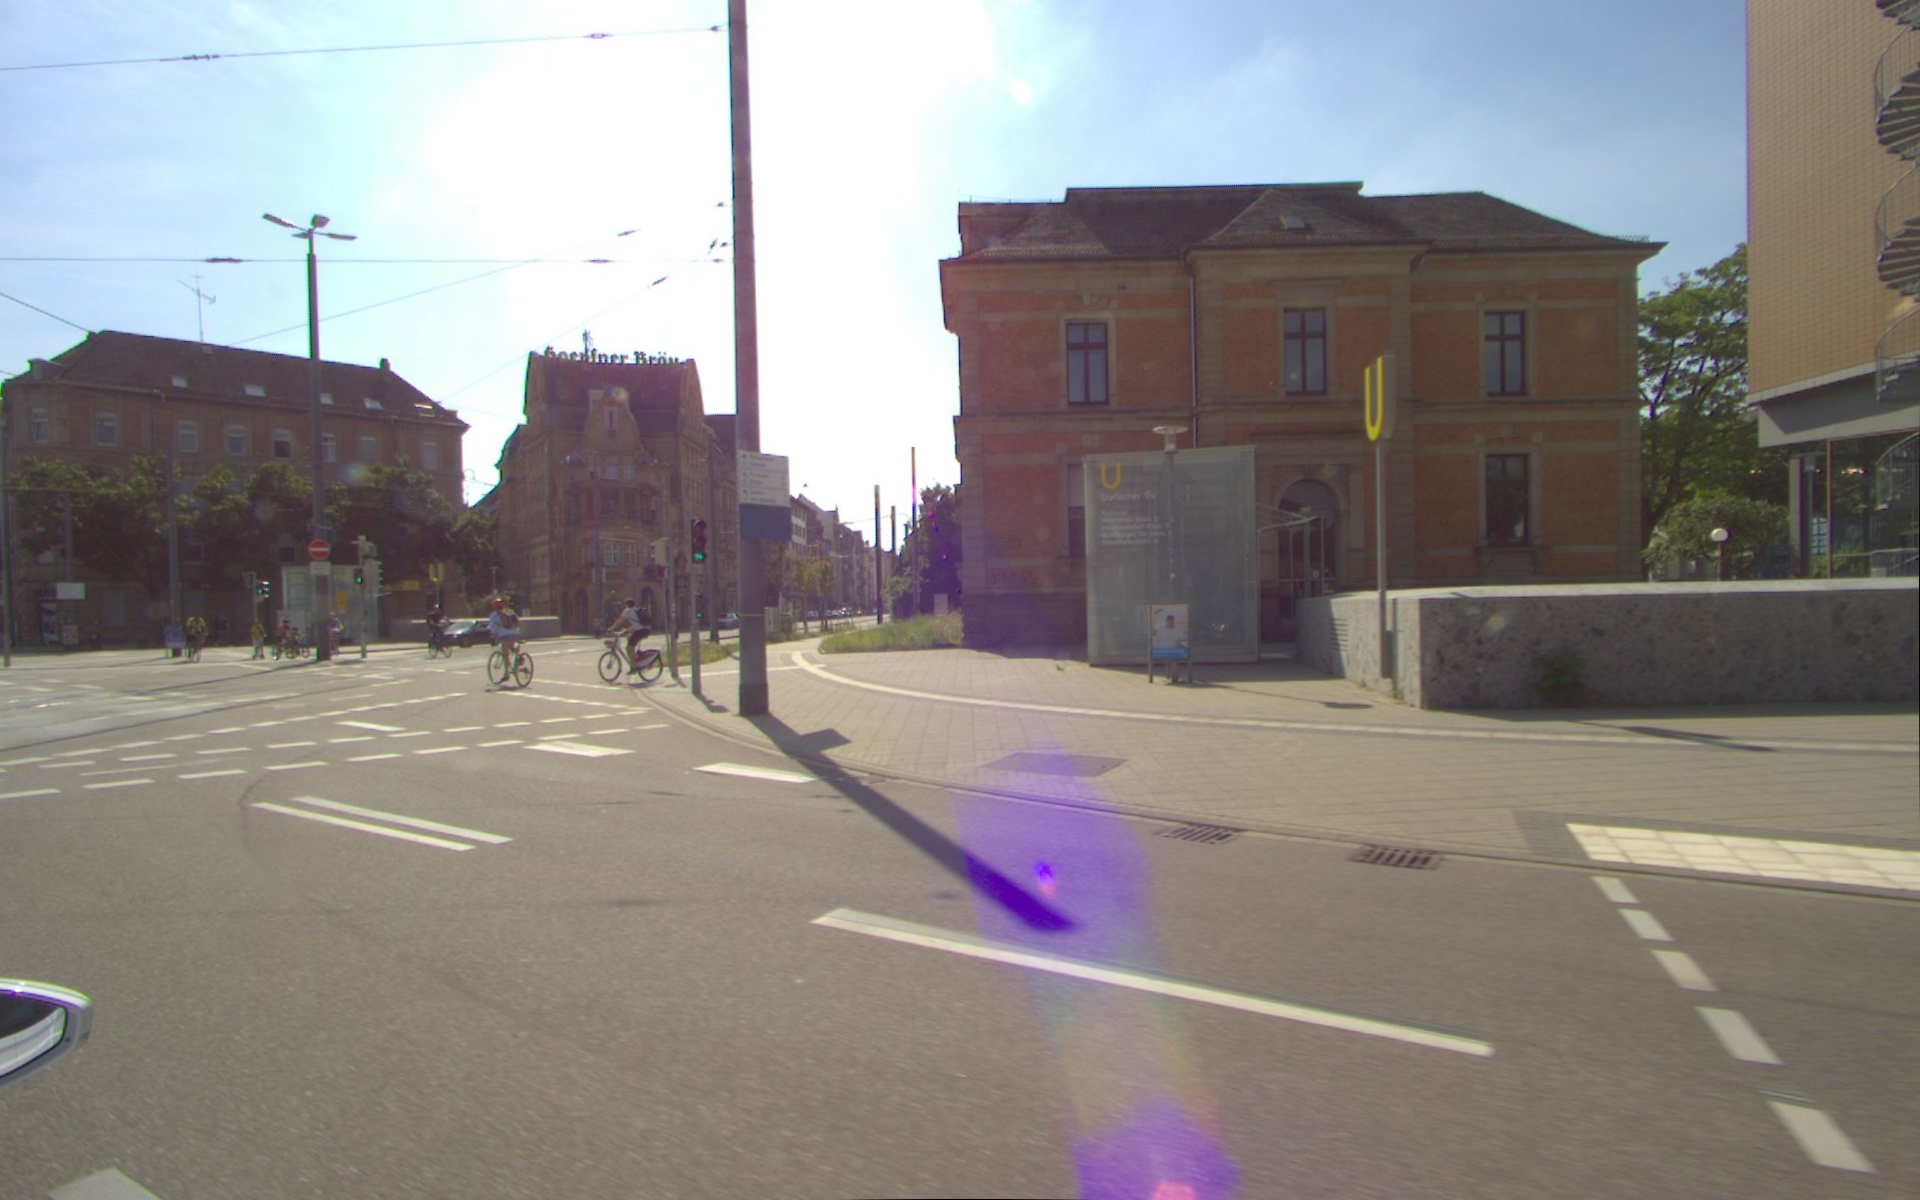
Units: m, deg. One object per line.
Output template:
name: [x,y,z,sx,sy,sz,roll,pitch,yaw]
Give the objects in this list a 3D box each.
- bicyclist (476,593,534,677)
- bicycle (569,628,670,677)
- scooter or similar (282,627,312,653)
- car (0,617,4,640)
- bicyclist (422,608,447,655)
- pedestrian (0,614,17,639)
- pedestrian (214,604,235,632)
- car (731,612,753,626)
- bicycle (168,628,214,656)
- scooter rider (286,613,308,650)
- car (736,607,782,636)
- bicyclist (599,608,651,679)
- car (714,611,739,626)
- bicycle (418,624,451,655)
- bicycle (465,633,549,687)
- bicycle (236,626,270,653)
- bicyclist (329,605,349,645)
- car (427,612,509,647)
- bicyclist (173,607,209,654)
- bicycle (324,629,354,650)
bicyclist: [-9.493,0.717,20.888,0.864,1.692,0.711,-1,3,38]
bicycle: [-7.431,1.140,21.928,1.981,1.028,0.717,0,-2,-4]
scooter or similar: [-25.639,1.565,38.733,0.977,0.988,0.586,-2,-2,30]
car: [-89.240,2.602,91.849,3.957,2.039,1.983,-3,-3,42]
bicyclist: [-18.807,1.124,35.840,0.661,1.645,0.777,1,-1,-37]
pedestrian: [-55.895,1.532,58.503,0.871,1.452,0.711,-1,1,-16]
pedestrian: [-39.900,0.981,54.331,0.699,1.451,0.614,0,-2,-7]
car: [-23.314,2.009,107.190,1.606,1.363,3.610,-1,0,-1]
bicycle: [-31.034,1.711,40.394,2.715,1.082,0.922,-3,-3,41]
scooter rider: [-25.646,1.214,38.741,0.401,1.415,0.586,-1,-2,30]
car: [-9.639,1.025,48.258,1.640,1.330,3.452,-1,0,-3]
bicyclist: [-7.331,0.948,21.941,0.931,1.506,0.717,-1,-2,-4]
car: [-23.259,1.827,99.799,1.606,1.363,3.583,-1,0,-1]
bicycle: [-18.821,1.393,35.844,0.661,1.083,2.445,1,-1,-37]
bicycle: [-9.475,1.232,20.920,1.996,1.029,0.711,-1,2,39]
bicycle: [-29.553,1.620,41.826,0.919,1.083,2.817,1,-2,-40]
bicyclist: [-25.587,1.042,41.250,0.641,1.642,0.499,-1,-1,35]
car: [-24.672,1.463,50.346,1.607,1.604,3.998,-1,0,10]
bicyclist: [-30.871,1.223,40.186,1.040,1.843,0.922,-2,-2,40]
bicycle: [-25.559,1.618,41.227,1.566,0.877,0.499,-1,-2,36]
